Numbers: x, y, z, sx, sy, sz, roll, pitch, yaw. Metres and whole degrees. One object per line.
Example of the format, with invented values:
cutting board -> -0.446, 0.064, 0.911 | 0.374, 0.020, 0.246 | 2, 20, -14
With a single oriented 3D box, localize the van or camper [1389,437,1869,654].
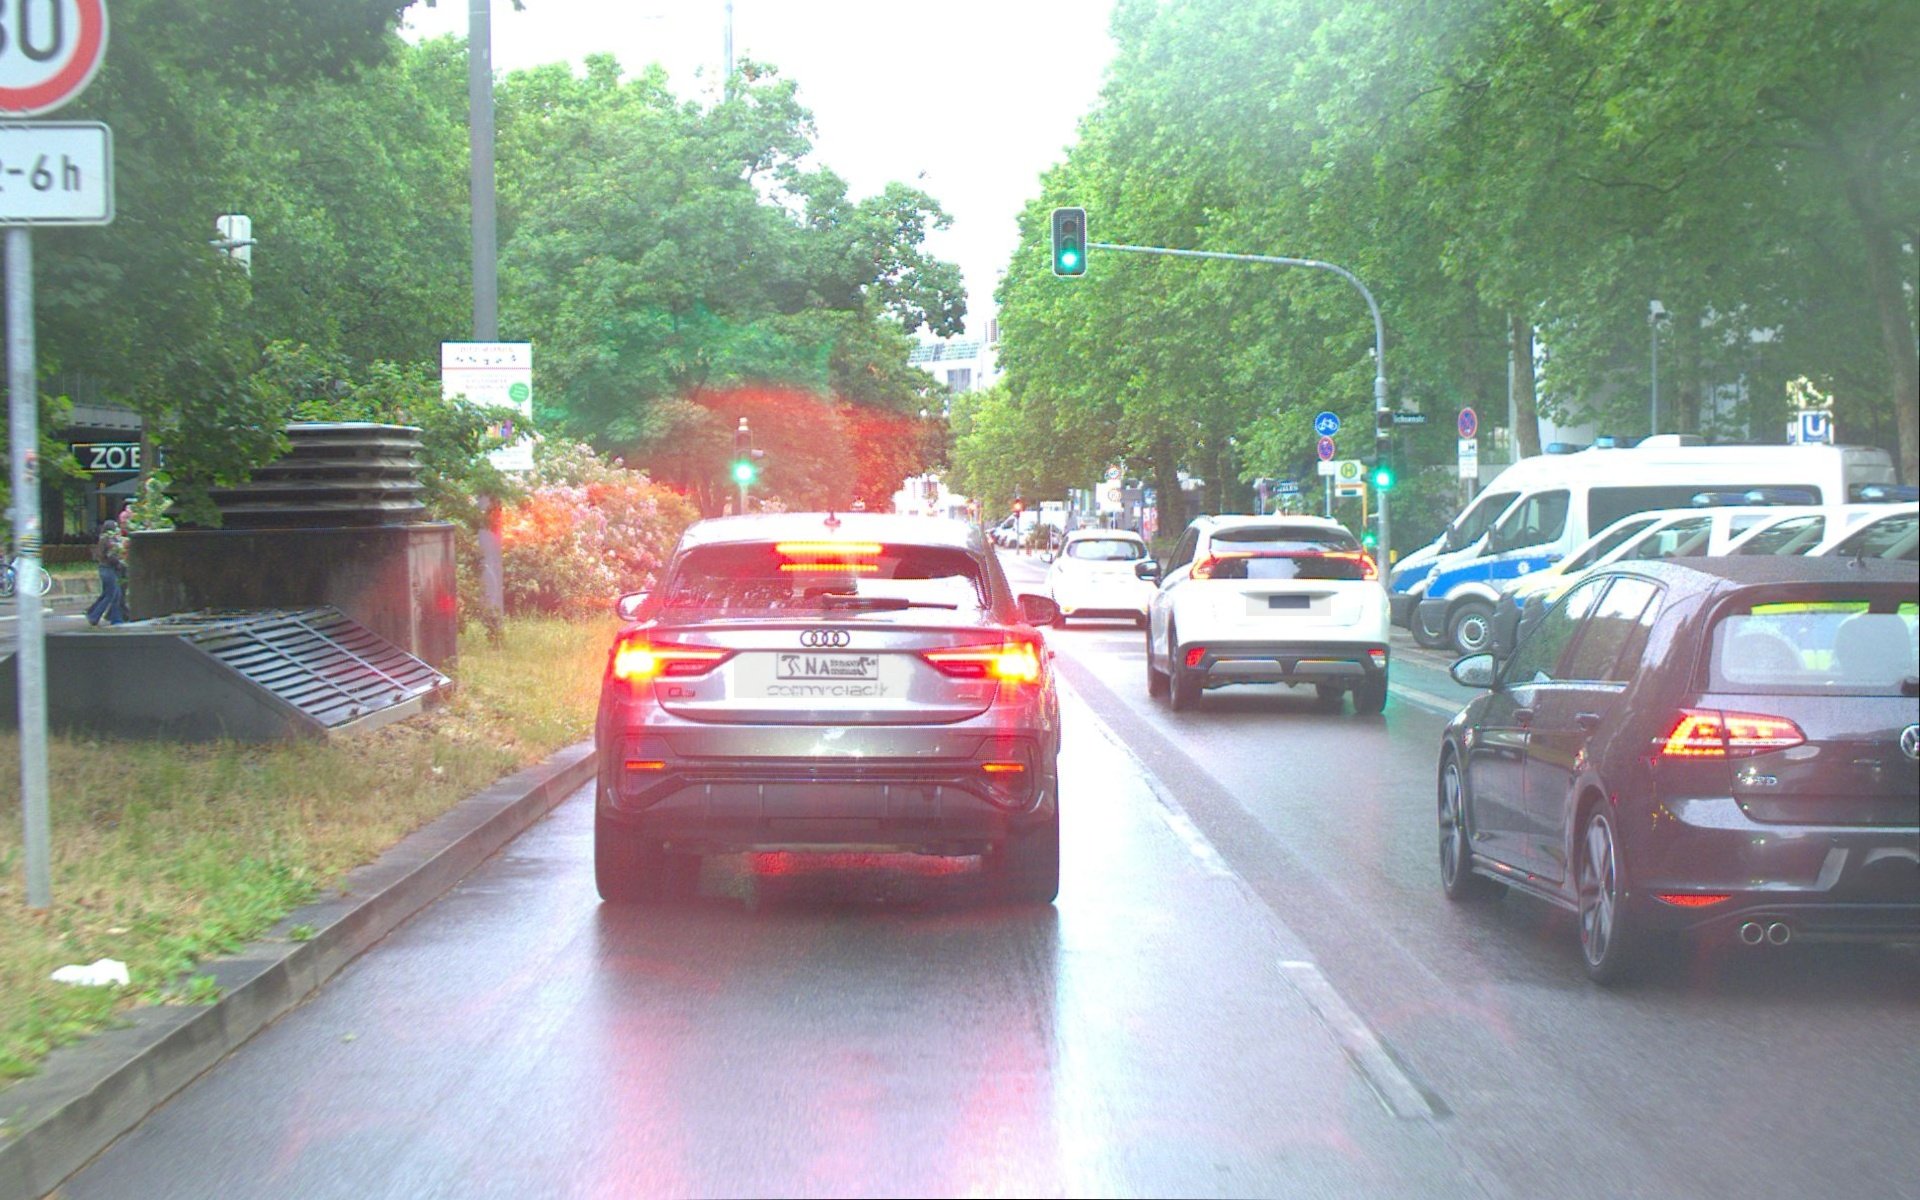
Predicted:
van or camper -> 8.683, -0.730, 44.953 | 5.810, 2.668, 2.143 | 1, 1, 37

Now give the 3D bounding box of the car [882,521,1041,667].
car -> -0.002, -0.114, 39.392 | 1.721, 1.572, 3.962 | 0, 1, -1

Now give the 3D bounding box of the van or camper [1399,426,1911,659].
van or camper -> 8.409, -0.709, 41.897 | 5.805, 2.671, 1.996 | 1, 1, 35

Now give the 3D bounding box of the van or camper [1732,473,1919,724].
van or camper -> 9.085, -0.018, 27.872 | 5.102, 2.018, 2.101 | 1, 2, 38

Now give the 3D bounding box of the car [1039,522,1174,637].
car -> 2.311, -0.365, 55.234 | 1.993, 1.744, 4.000 | 0, 1, 0

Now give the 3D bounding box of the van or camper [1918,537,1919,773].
van or camper -> 8.572, 0.114, 21.089 | 4.789, 2.004, 1.996 | 1, 1, 36

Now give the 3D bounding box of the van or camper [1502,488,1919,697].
van or camper -> 8.349, -0.103, 34.992 | 5.203, 1.985, 1.996 | 2, 1, 34

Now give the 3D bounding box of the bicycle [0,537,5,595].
bicycle -> -19.078, -0.642, 65.120 | 1.821, 1.094, 0.566 | 0, 1, -7

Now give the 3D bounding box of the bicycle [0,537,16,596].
bicycle -> -19.097, -0.642, 65.921 | 1.844, 1.133, 0.566 | 0, 1, -7

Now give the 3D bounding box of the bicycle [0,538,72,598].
bicycle -> -18.387, -0.618, 67.325 | 1.844, 1.145, 0.566 | -1, 2, -6

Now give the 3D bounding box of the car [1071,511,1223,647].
car -> 2.480, -0.323, 46.475 | 1.822, 1.744, 4.000 | 0, 1, 0

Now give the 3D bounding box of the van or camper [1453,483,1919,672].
van or camper -> 8.252, -0.252, 38.656 | 5.011, 2.007, 1.996 | 0, 0, 36

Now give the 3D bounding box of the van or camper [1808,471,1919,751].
van or camper -> 8.785, 0.072, 24.358 | 5.017, 1.988, 1.996 | 1, 1, 32

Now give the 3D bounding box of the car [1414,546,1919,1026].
car -> 2.893, 0.539, 12.544 | 1.765, 1.408, 4.001 | -1, 2, -3

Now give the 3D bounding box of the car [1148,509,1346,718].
car -> 2.414, 0.071, 29.411 | 1.433, 1.679, 2.979 | -1, 1, 0

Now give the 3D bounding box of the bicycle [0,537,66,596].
bicycle -> -18.337, -0.648, 66.702 | 1.844, 1.133, 0.566 | -1, 2, -6

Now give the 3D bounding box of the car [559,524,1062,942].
car -> -0.518, 0.443, 15.013 | 1.863, 1.527, 4.527 | 0, 1, 1
